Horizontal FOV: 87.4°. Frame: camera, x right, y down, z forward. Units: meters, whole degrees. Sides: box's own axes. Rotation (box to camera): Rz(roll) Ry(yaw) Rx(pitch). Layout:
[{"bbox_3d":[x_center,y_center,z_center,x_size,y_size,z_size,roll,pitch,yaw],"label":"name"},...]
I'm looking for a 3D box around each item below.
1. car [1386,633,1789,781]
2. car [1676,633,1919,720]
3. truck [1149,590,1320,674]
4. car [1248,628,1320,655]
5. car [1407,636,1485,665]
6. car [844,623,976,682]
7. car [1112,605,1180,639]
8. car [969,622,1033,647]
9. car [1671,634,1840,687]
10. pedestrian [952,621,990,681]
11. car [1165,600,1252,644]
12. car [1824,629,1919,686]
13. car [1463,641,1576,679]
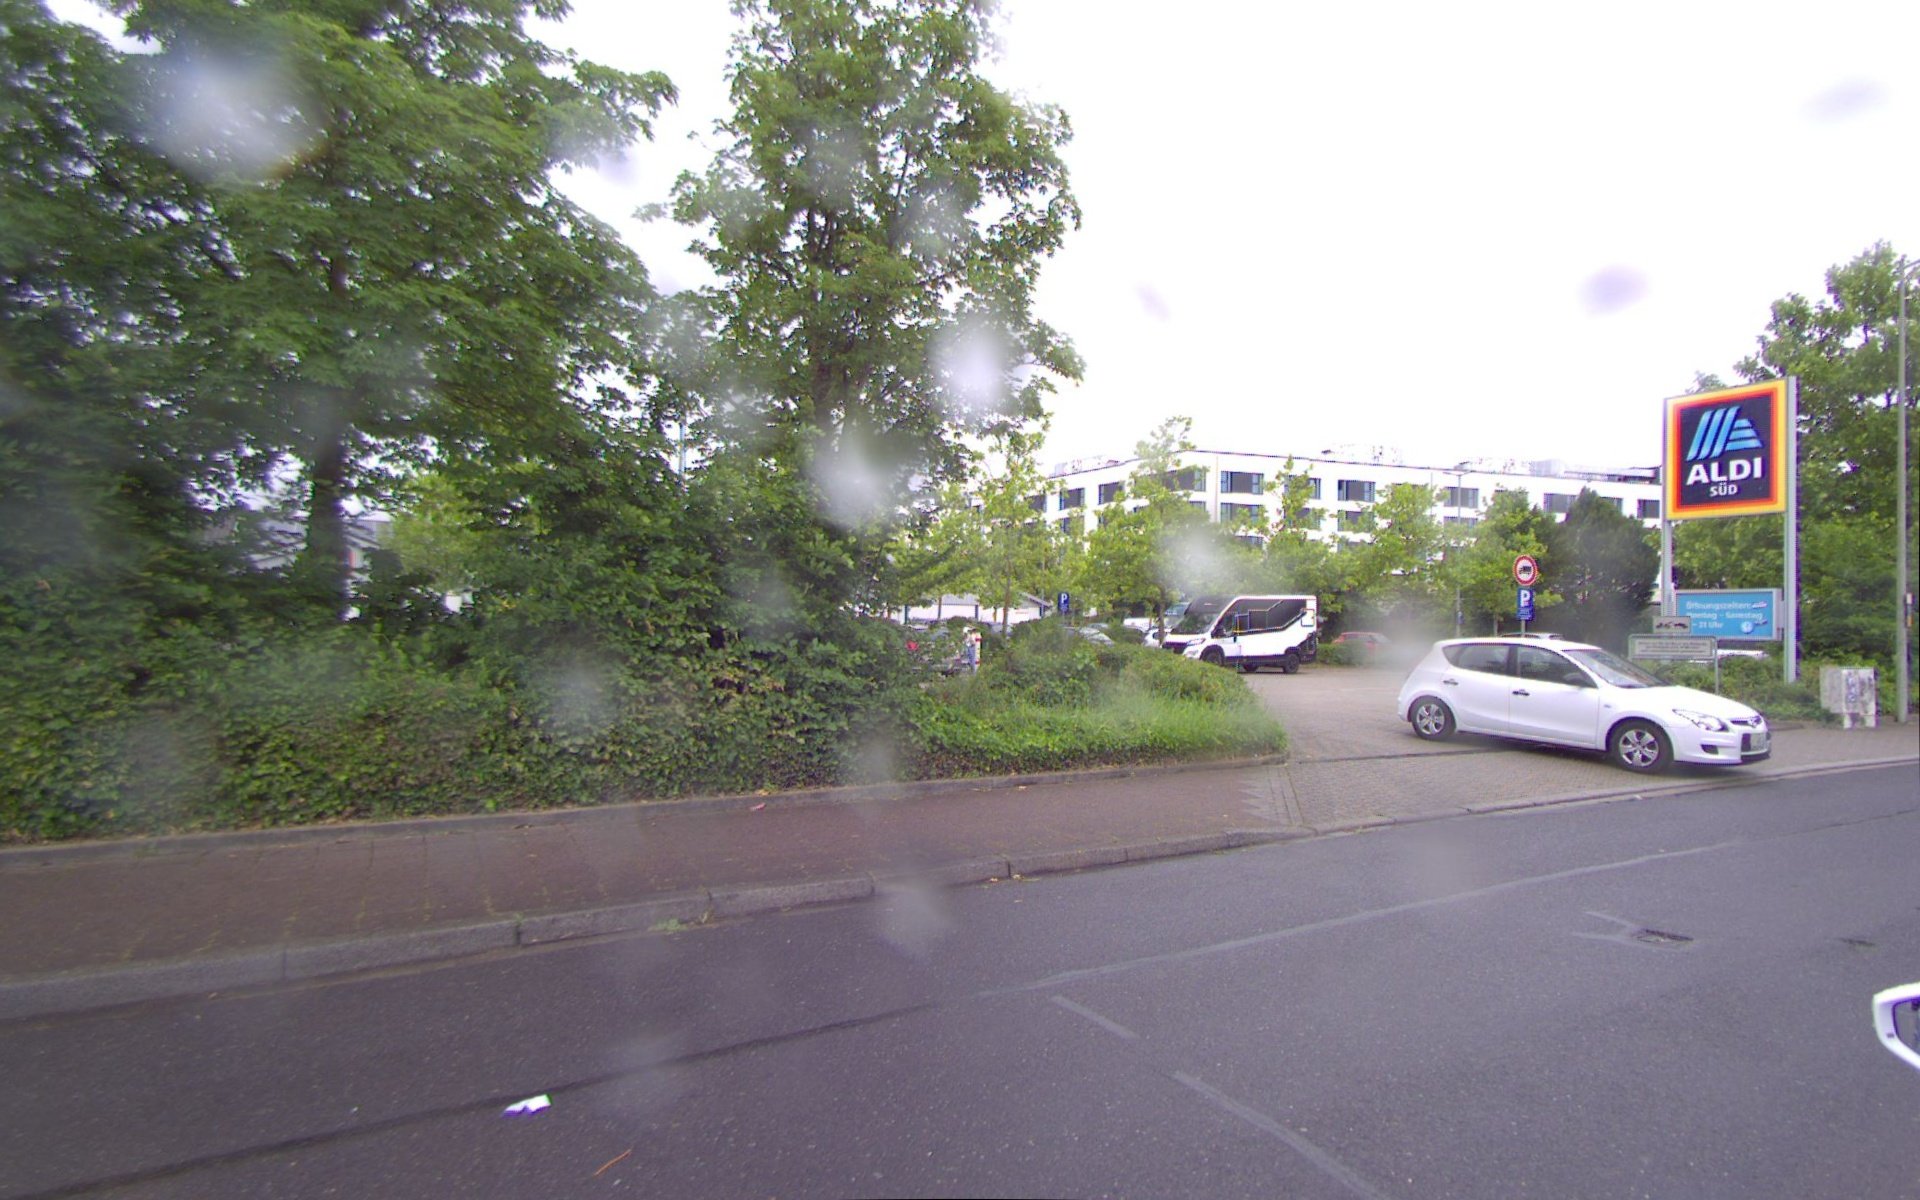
[{"bbox_3d":[7.972,1.251,13.171,1.694,1.479,4.165,2,-1,-33],"label":"car"},{"bbox_3d":[17.417,1.527,21.019,1.692,1.479,3.553,2,0,-29],"label":"car"},{"bbox_3d":[9.572,1.138,34.778,6.327,2.692,1.983,2,-2,-32],"label":"truck"},{"bbox_3d":[19.860,2.535,61.709,1.976,1.549,3.970,2,-2,-29],"label":"car"},{"bbox_3d":[27.824,2.928,57.606,1.688,1.615,3.815,1,-4,-25],"label":"car"},{"bbox_3d":[-1.445,1.371,27.297,1.694,1.479,4.165,2,-2,-33],"label":"car"},{"bbox_3d":[11.943,1.395,64.404,3.954,2.040,1.984,3,-1,-31],"label":"car"},{"bbox_3d":[2.363,2.011,58.543,1.976,1.363,3.970,2,-2,-29],"label":"car"},{"bbox_3d":[26.072,1.941,33.050,1.888,1.561,3.968,2,-1,-30],"label":"car"},{"bbox_3d":[0.306,1.423,28.132,0.761,1.656,0.771,2,-1,-34],"label":"pedestrian"},{"bbox_3d":[14.047,1.262,56.704,4.758,2.327,1.984,2,-1,-31],"label":"car"},{"bbox_3d":[27.955,1.680,29.182,1.888,1.561,3.968,2,-1,-30],"label":"car"},{"bbox_3d":[24.783,2.607,44.582,1.976,1.519,3.970,2,-2,-29],"label":"car"}]
